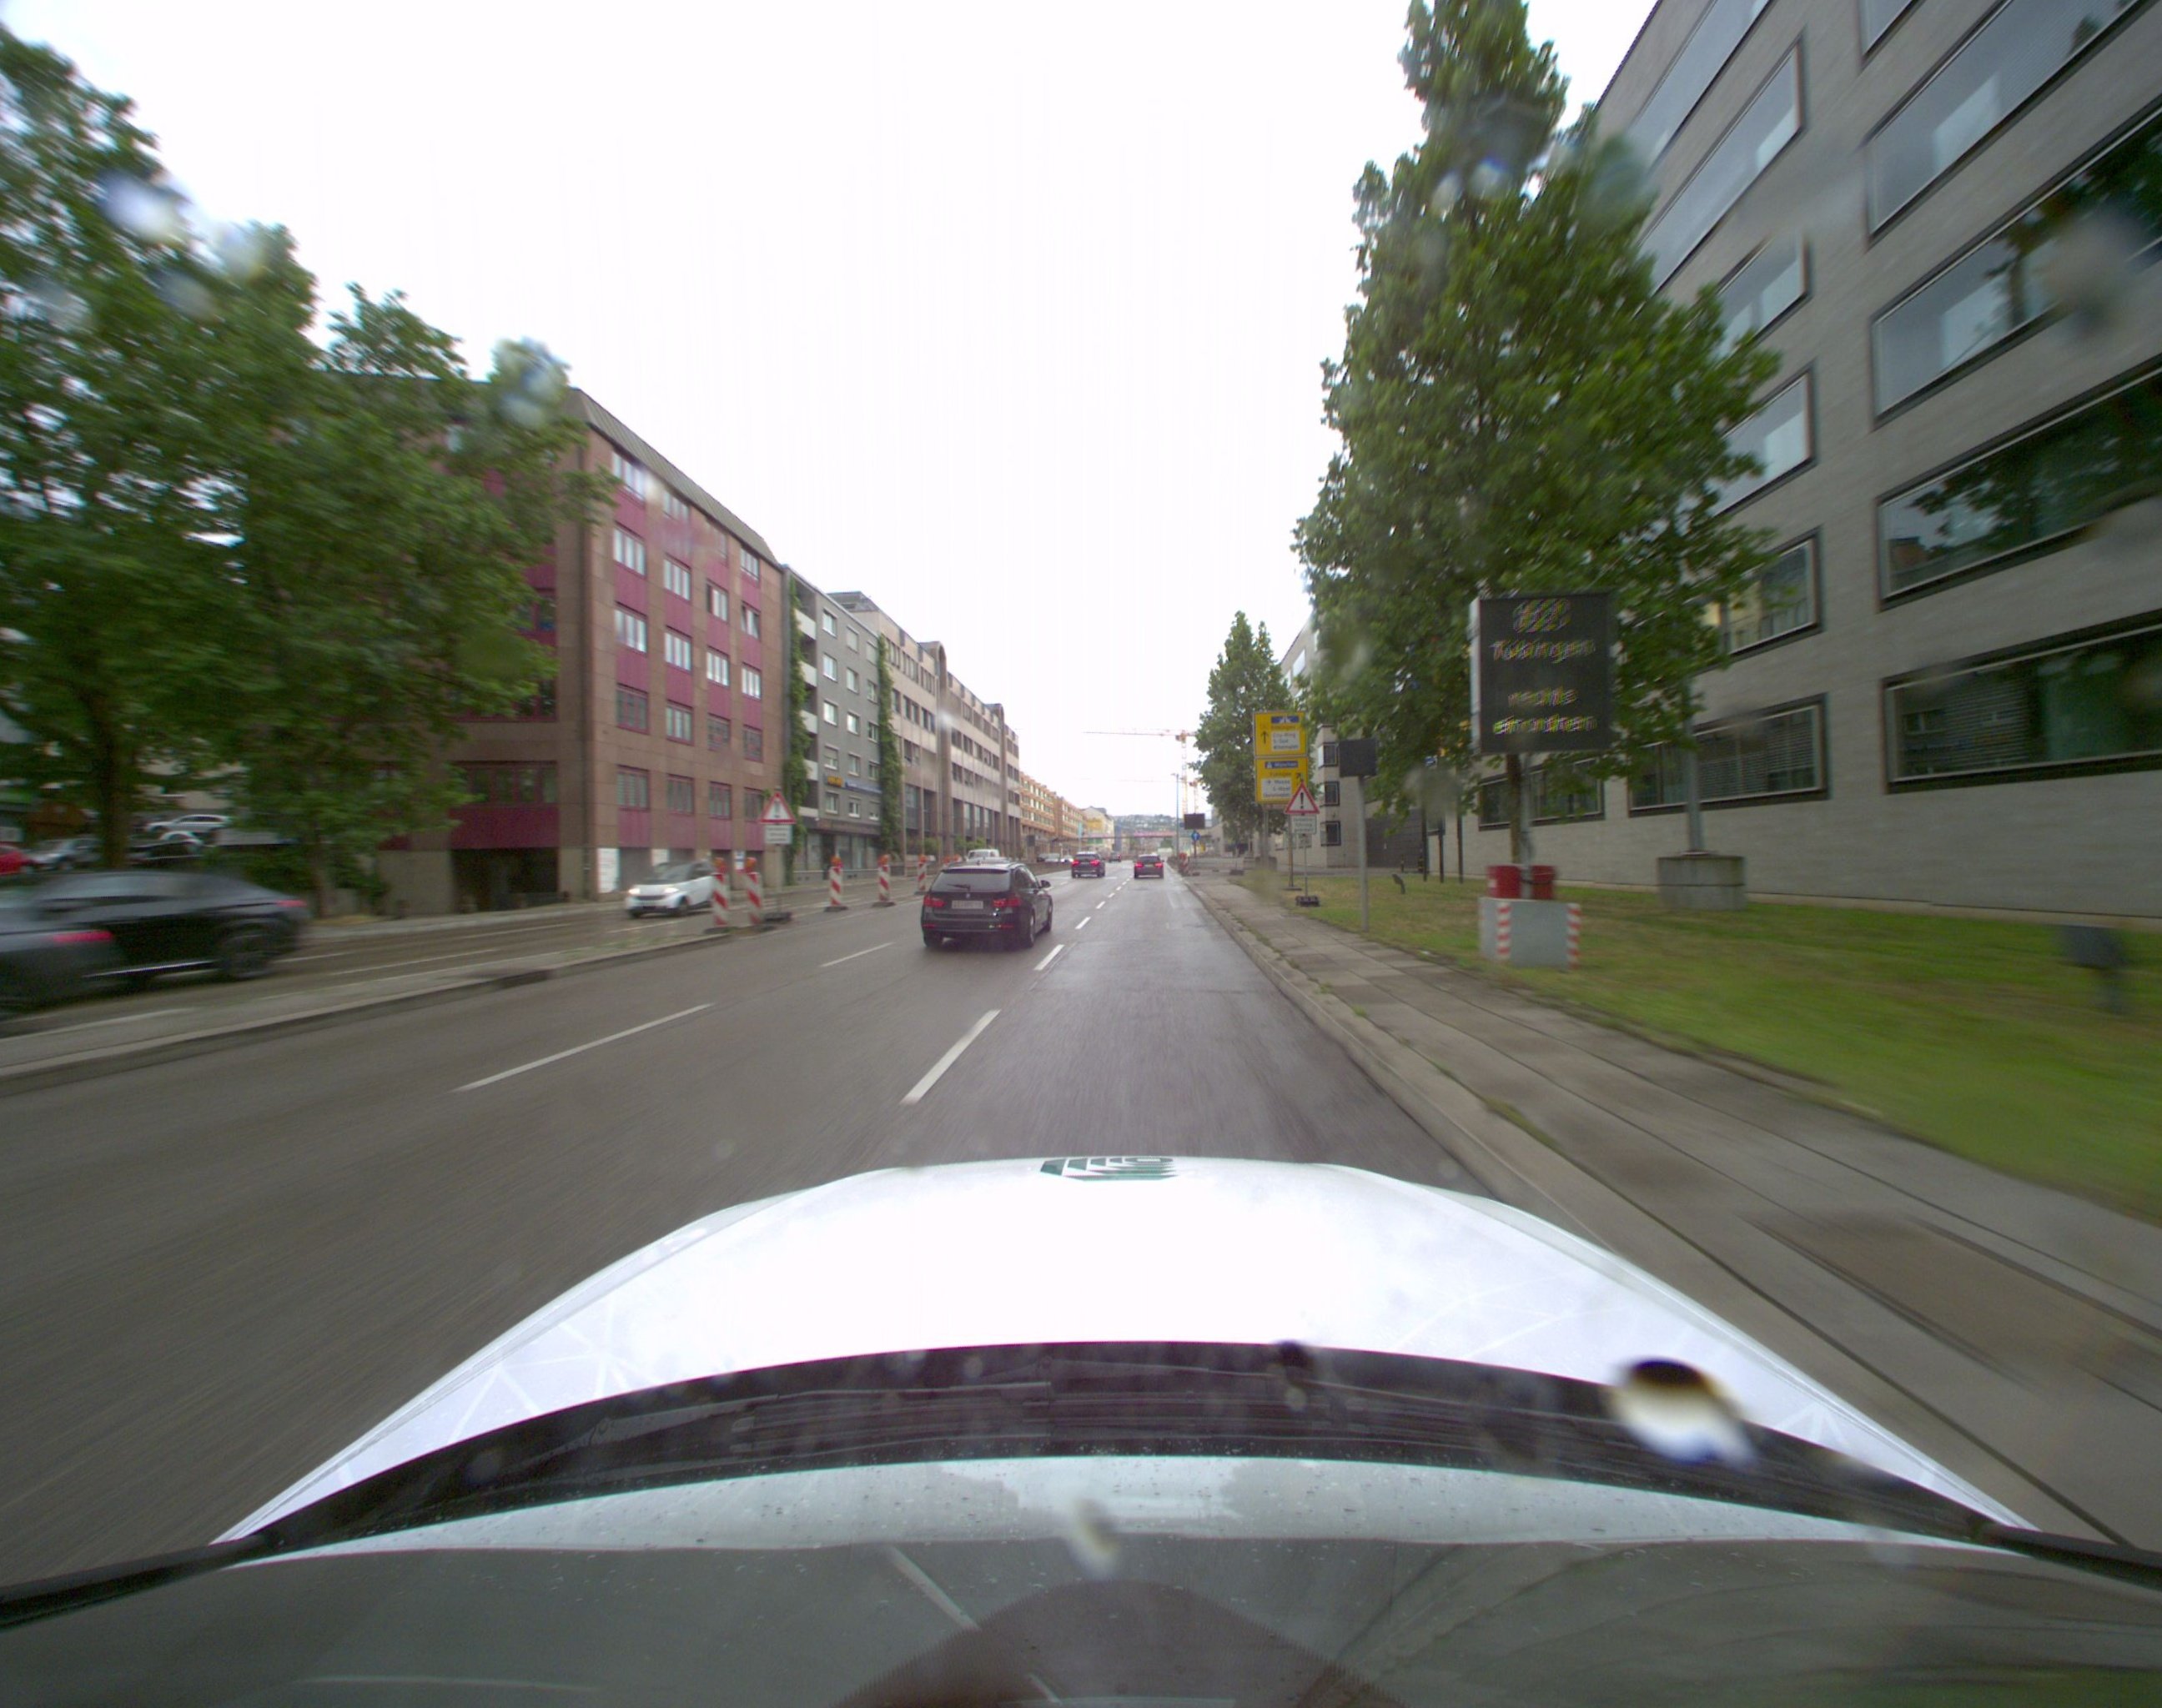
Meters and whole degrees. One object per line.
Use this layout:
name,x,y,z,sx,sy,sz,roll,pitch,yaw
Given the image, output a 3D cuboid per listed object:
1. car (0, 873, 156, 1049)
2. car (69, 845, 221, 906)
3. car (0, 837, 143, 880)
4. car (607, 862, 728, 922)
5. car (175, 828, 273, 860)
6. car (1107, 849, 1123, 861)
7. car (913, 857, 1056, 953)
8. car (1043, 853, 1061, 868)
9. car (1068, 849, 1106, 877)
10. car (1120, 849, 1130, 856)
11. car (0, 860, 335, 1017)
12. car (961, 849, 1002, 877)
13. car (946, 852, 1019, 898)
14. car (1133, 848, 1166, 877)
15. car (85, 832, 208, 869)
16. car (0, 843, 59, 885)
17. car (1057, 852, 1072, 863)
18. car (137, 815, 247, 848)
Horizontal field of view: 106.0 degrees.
car,-10.148,0.960,5.450,1.984,1.438,4.945,-3,0,5
car,-30.868,0.640,27.042,1.941,1.868,3.965,0,1,-27
car,-42.709,0.142,34.518,1.837,1.430,4.049,-2,4,-16
car,-11.436,1.019,22.704,1.547,1.484,2.955,-2,0,7
car,-45.768,-0.584,43.609,1.838,1.430,4.046,-2,4,-18
car,5.278,0.129,126.107,1.889,1.693,4.009,-2,0,8
car,-1.554,0.793,14.815,1.784,1.426,4.617,0,0,3
car,-3.707,0.812,105.700,1.712,1.770,4.432,-2,0,5
car,0.451,0.568,53.046,1.889,1.693,4.009,-2,0,8
car,10.022,-0.348,186.747,1.983,1.620,4.771,-2,0,6
car,-12.766,0.991,10.210,1.985,1.677,4.943,-3,0,4
car,-7.617,0.651,62.960,1.984,1.990,5.296,-2,0,5
car,-3.365,0.688,28.644,1.783,1.426,4.387,-2,0,3
car,4.242,0.506,50.100,1.890,1.693,4.008,0,0,7
car,-44.385,-0.200,38.823,1.837,1.430,4.049,-2,4,-16
car,-41.151,0.439,30.330,1.838,1.430,4.046,-2,5,-19
car,-2.549,0.508,124.140,1.852,1.533,4.235,-2,0,4
car,-58.572,-1.492,53.756,4.440,2.006,1.983,-2,-1,-26
